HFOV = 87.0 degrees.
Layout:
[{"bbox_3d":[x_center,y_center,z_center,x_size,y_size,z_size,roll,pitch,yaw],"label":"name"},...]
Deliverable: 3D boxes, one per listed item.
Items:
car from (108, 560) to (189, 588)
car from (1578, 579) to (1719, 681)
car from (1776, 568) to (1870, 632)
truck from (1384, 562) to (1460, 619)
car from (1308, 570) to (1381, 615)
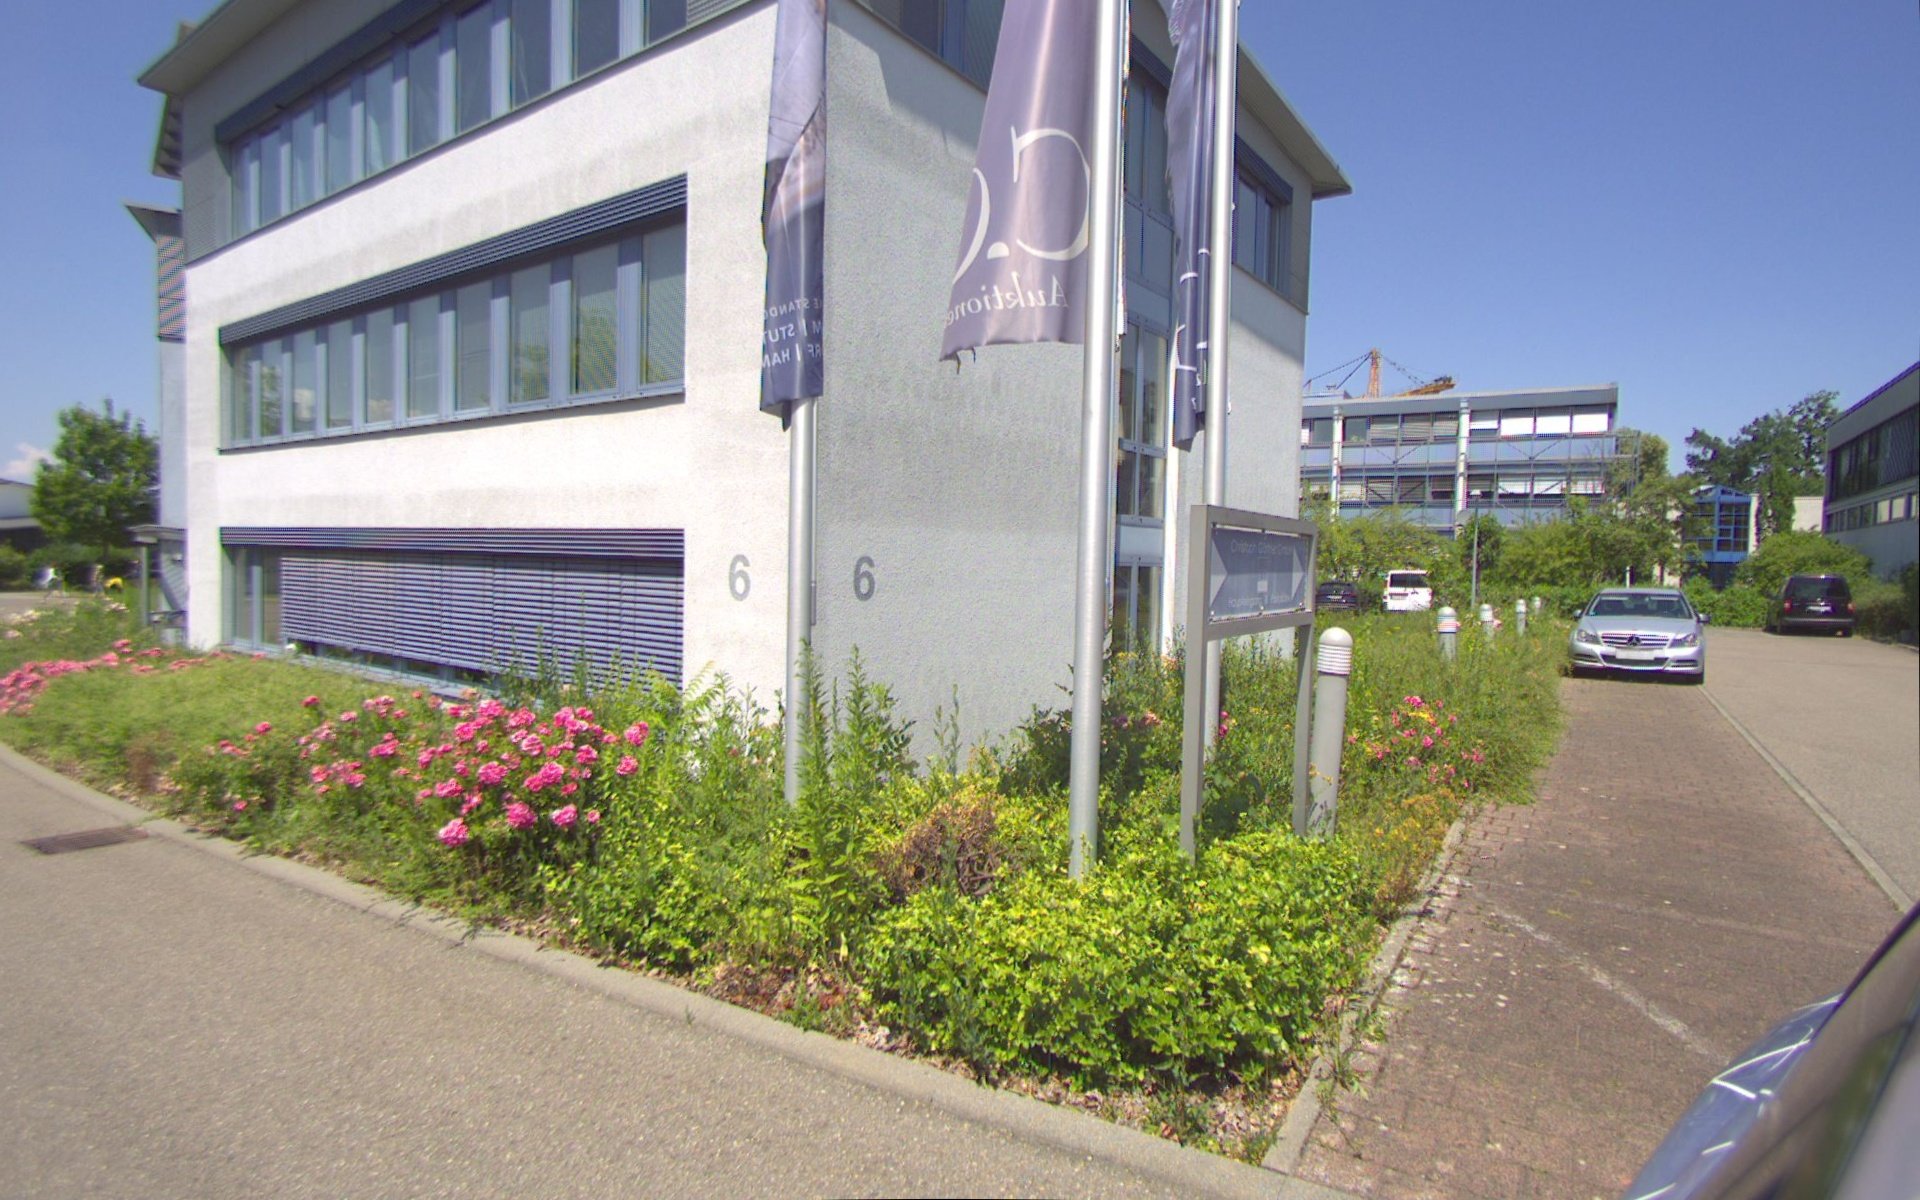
[{"bbox_3d":[-44.293,-1.413,55.287,3.152,1.460,1.591,0,1,-3],"label":"car"},{"bbox_3d":[11.331,0.387,16.589,1.703,1.408,3.761,3,3,36],"label":"car"},{"bbox_3d":[26.379,-0.062,31.045,1.777,1.826,3.951,1,2,35],"label":"car"},{"bbox_3d":[16.672,-0.370,36.426,1.985,1.917,3.956,1,2,32],"label":"truck"},{"bbox_3d":[14.695,-0.330,38.576,1.776,1.565,3.953,1,2,33],"label":"car"}]
